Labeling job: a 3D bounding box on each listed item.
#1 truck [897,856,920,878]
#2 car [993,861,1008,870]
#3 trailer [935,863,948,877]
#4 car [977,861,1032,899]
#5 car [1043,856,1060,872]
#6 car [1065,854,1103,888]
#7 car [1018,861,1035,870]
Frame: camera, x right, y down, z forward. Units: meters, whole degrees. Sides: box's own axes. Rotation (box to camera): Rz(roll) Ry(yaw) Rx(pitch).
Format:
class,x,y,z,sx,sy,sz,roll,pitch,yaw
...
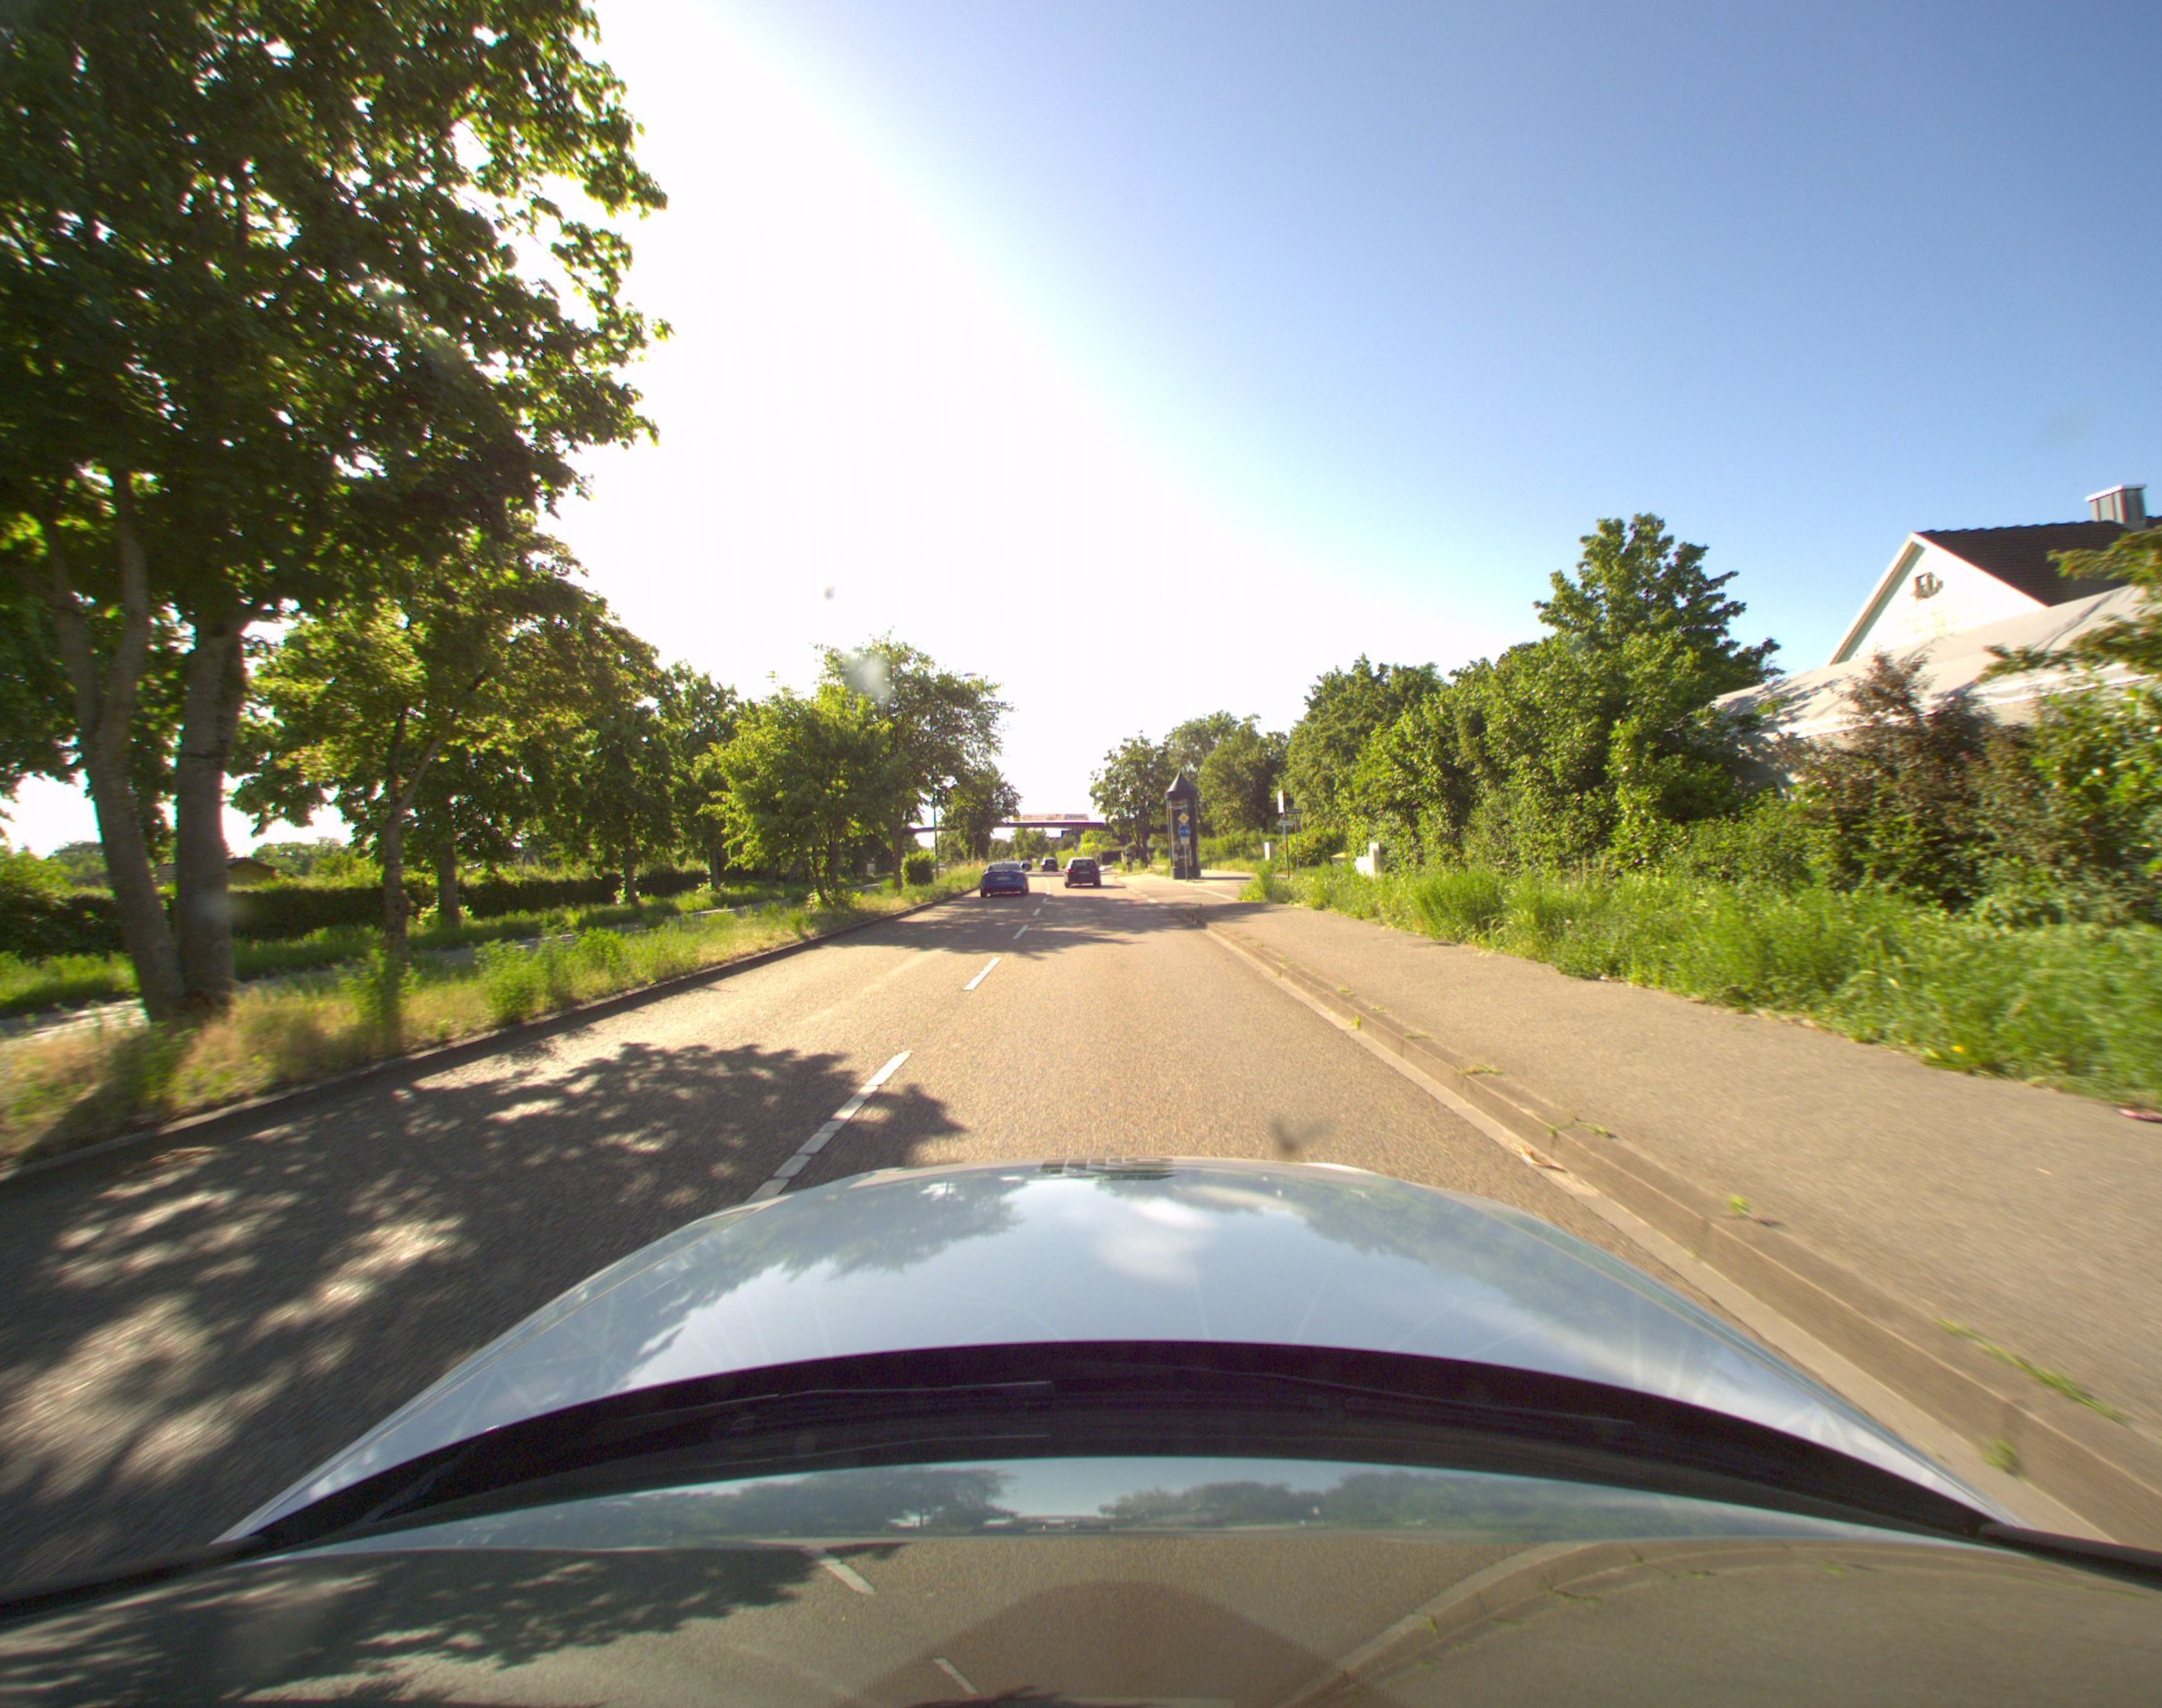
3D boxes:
class,x,y,z,sx,sy,sz,roll,pitch,yaw
truck,-21.241,1.589,100.511,2.172,2.512,5.724,-5,0,-9
car,-12.964,1.823,130.948,1.900,1.356,3.983,-3,0,-12
trailer,-21.095,2.421,123.085,1.560,1.910,4.274,-3,0,-5
car,-3.137,1.034,33.998,1.990,1.405,3.996,-3,0,-2
car,-3.210,1.085,87.991,1.740,1.597,4.169,-2,0,-4
car,0.140,0.856,40.835,1.755,1.559,3.999,-1,-1,0
car,-8.227,1.739,123.321,1.900,1.356,3.983,-3,0,-12
